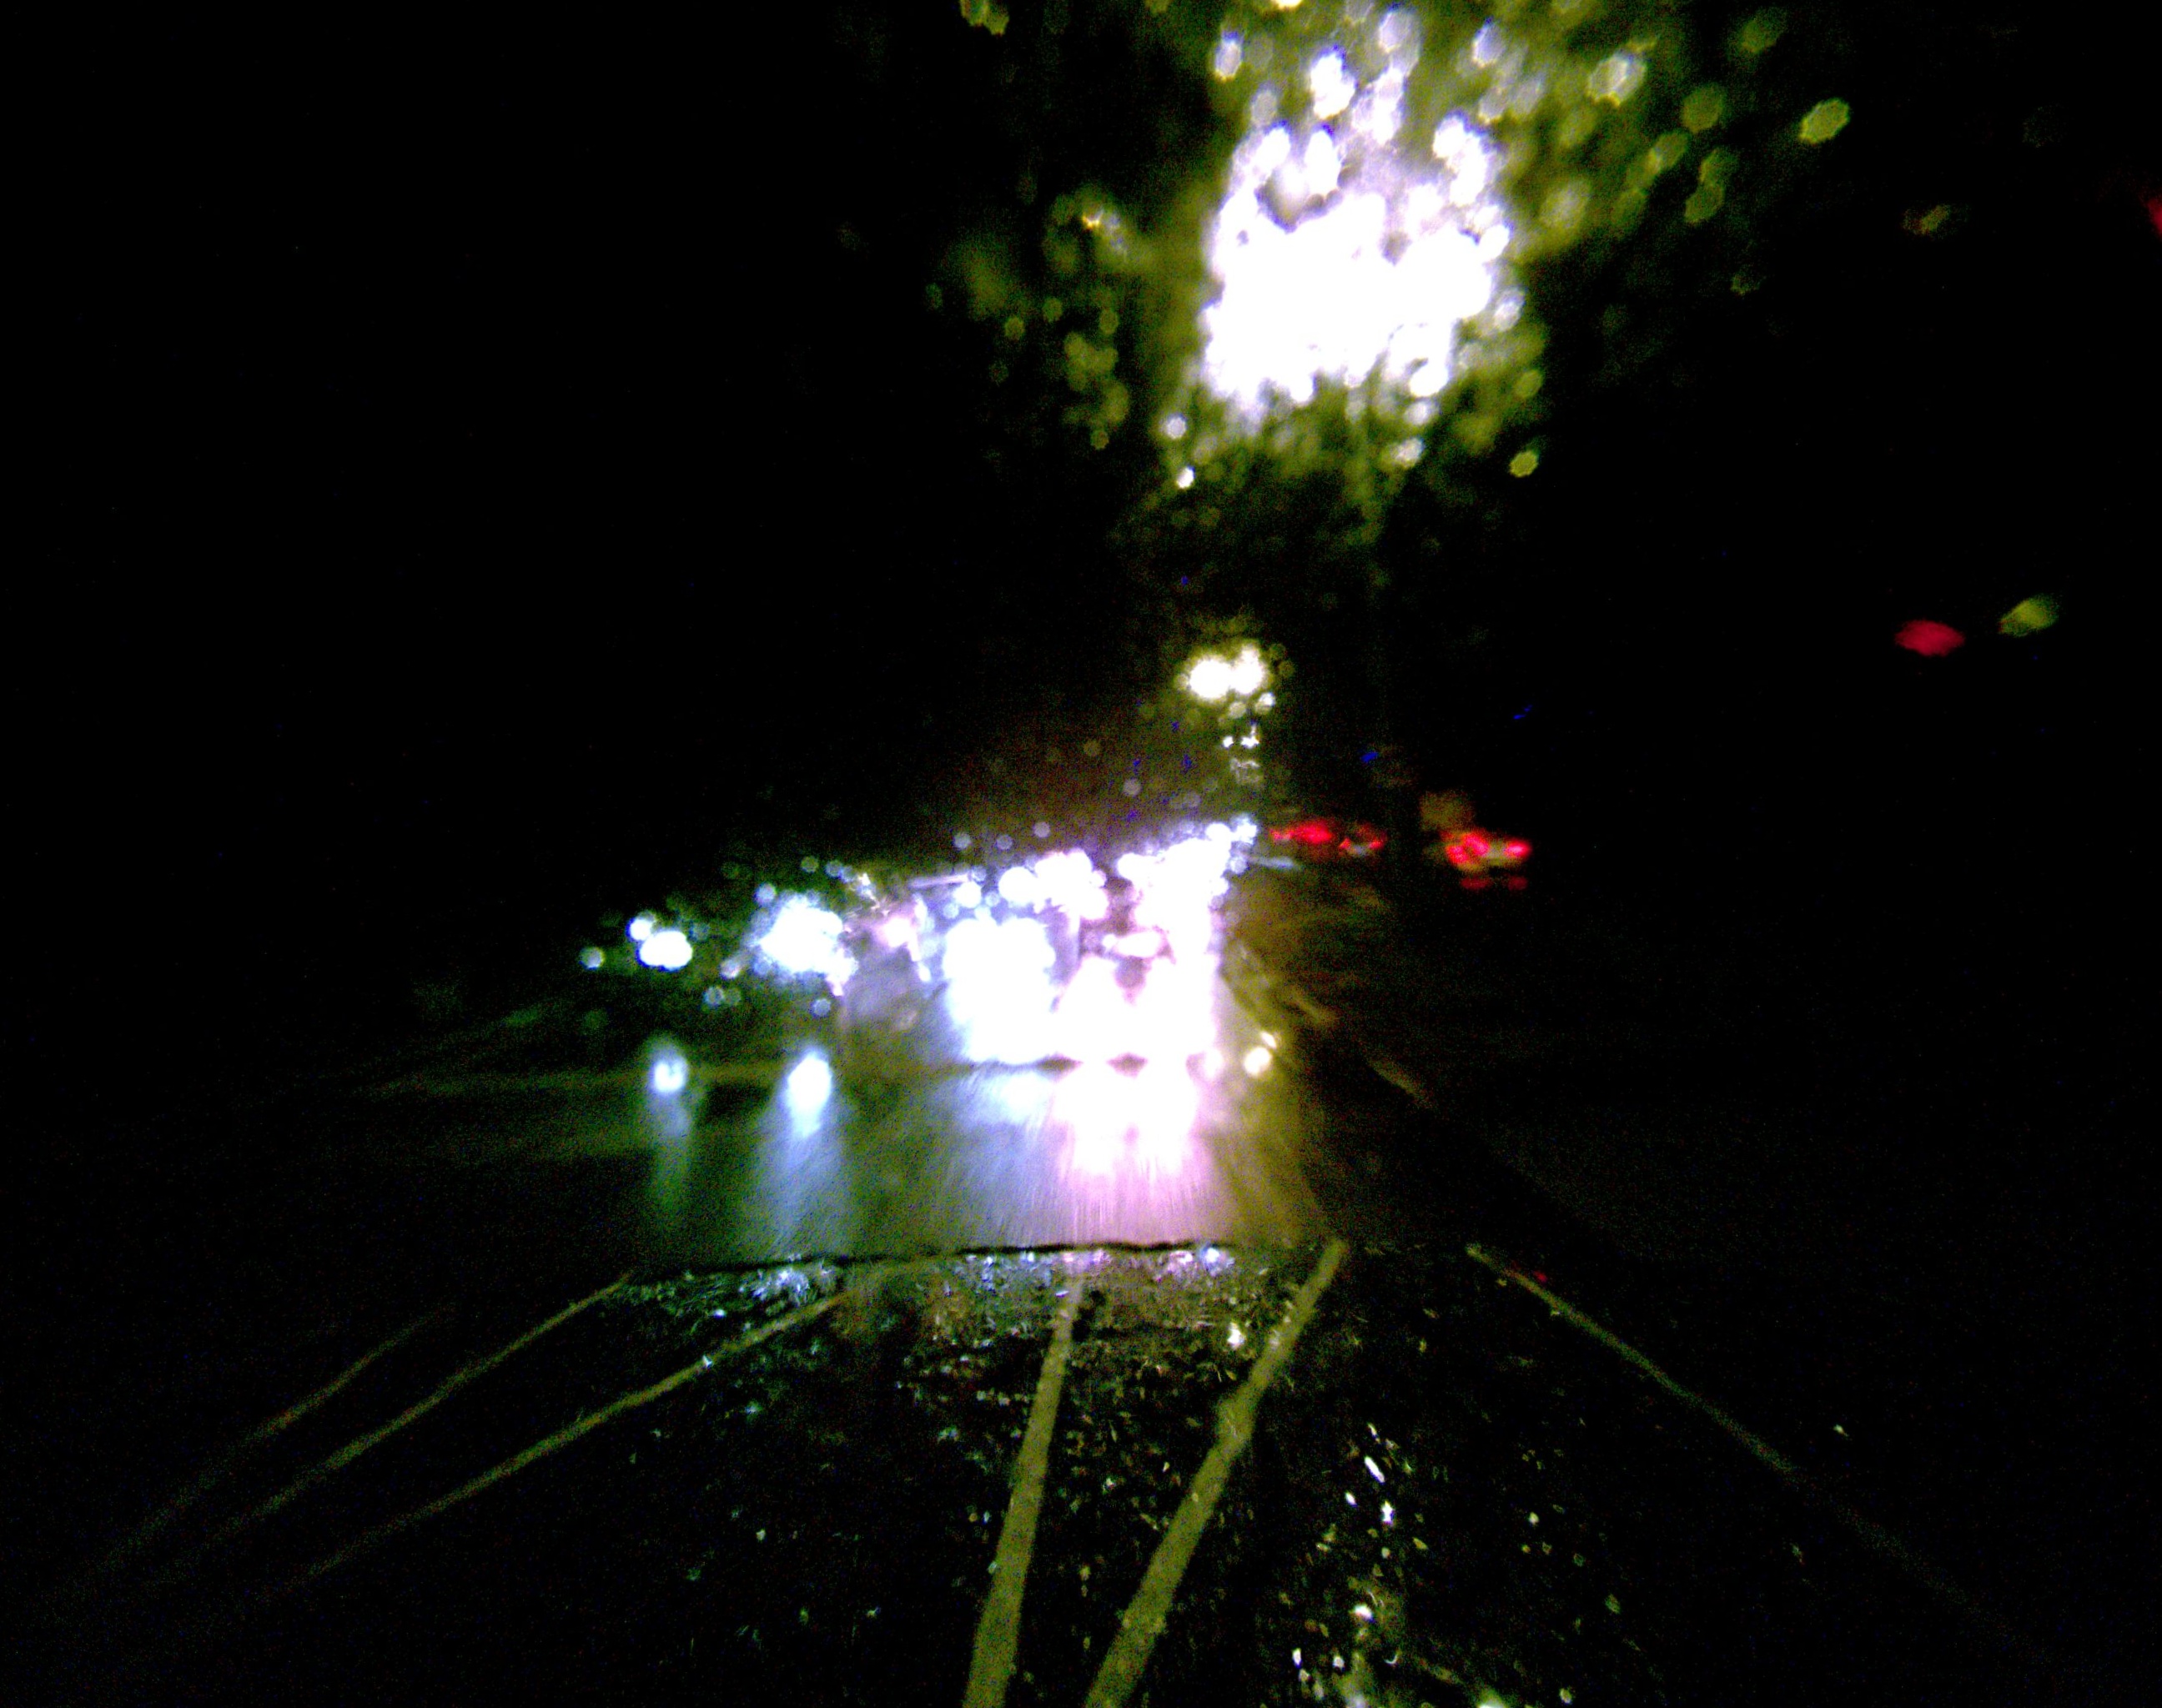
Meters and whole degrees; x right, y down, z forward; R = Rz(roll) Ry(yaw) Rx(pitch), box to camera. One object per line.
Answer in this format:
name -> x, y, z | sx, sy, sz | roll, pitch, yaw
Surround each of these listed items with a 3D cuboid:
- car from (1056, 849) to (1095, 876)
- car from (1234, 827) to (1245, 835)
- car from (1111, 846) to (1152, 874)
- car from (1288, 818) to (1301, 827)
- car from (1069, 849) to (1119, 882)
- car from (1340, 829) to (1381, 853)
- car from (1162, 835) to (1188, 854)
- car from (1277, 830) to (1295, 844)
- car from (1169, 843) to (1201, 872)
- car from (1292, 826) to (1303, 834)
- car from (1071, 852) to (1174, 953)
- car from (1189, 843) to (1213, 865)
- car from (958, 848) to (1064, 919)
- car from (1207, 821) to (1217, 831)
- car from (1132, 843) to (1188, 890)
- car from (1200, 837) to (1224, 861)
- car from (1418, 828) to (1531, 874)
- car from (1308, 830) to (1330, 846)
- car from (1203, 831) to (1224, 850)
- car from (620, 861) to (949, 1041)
car -> -0.319, 0.490, 48.485 | 1.742, 1.410, 4.141 | -4, 2, 9
car -> 35.822, -5.251, 171.553 | 1.996, 1.670, 4.003 | -4, 2, 15
car -> 3.383, 0.358, 50.141 | 1.997, 1.589, 4.395 | -3, 1, 12
car -> 43.842, -6.458, 156.210 | 1.874, 1.849, 4.000 | -4, 2, 7
car -> 0.769, 0.573, 40.506 | 1.741, 1.410, 4.142 | -4, 2, 13
car -> 17.827, -0.863, 48.625 | 1.737, 1.487, 3.942 | -1, 2, 9
car -> 9.008, -0.966, 72.286 | 1.997, 1.589, 4.394 | -3, 2, 12
car -> 24.737, -2.078, 91.939 | 1.851, 1.562, 3.510 | -3, 0, 12
car -> 6.262, 0.173, 45.362 | 1.605, 1.417, 3.391 | -6, 2, 11
car -> 37.564, -4.158, 131.840 | 1.714, 1.415, 4.671 | -1, 2, 14
car -> 0.839, 0.745, 13.305 | 1.496, 1.416, 3.391 | -3, 1, 7
car -> 9.360, -0.053, 59.100 | 1.605, 1.417, 3.391 | -6, 2, 11
car -> -1.802, 0.718, 21.044 | 1.710, 1.513, 4.416 | -4, 2, 10
car -> 30.385, -6.517, 176.388 | 1.997, 2.002, 4.002 | -3, 2, 11
car -> 3.022, 0.433, 28.457 | 1.605, 1.417, 3.391 | -6, 2, 12
car -> 12.282, -0.509, 71.350 | 1.997, 2.002, 4.001 | -4, 2, 8
car -> 13.624, -0.114, 26.623 | 1.793, 1.448, 4.578 | -1, 0, 3
car -> 25.211, -1.752, 80.525 | 1.777, 1.584, 4.563 | -2, 2, 13
car -> 13.885, -1.432, 79.550 | 1.966, 1.784, 4.001 | -4, 2, 10
car -> -3.193, 0.950, 9.393 | 1.676, 1.497, 4.561 | -4, 0, 8
